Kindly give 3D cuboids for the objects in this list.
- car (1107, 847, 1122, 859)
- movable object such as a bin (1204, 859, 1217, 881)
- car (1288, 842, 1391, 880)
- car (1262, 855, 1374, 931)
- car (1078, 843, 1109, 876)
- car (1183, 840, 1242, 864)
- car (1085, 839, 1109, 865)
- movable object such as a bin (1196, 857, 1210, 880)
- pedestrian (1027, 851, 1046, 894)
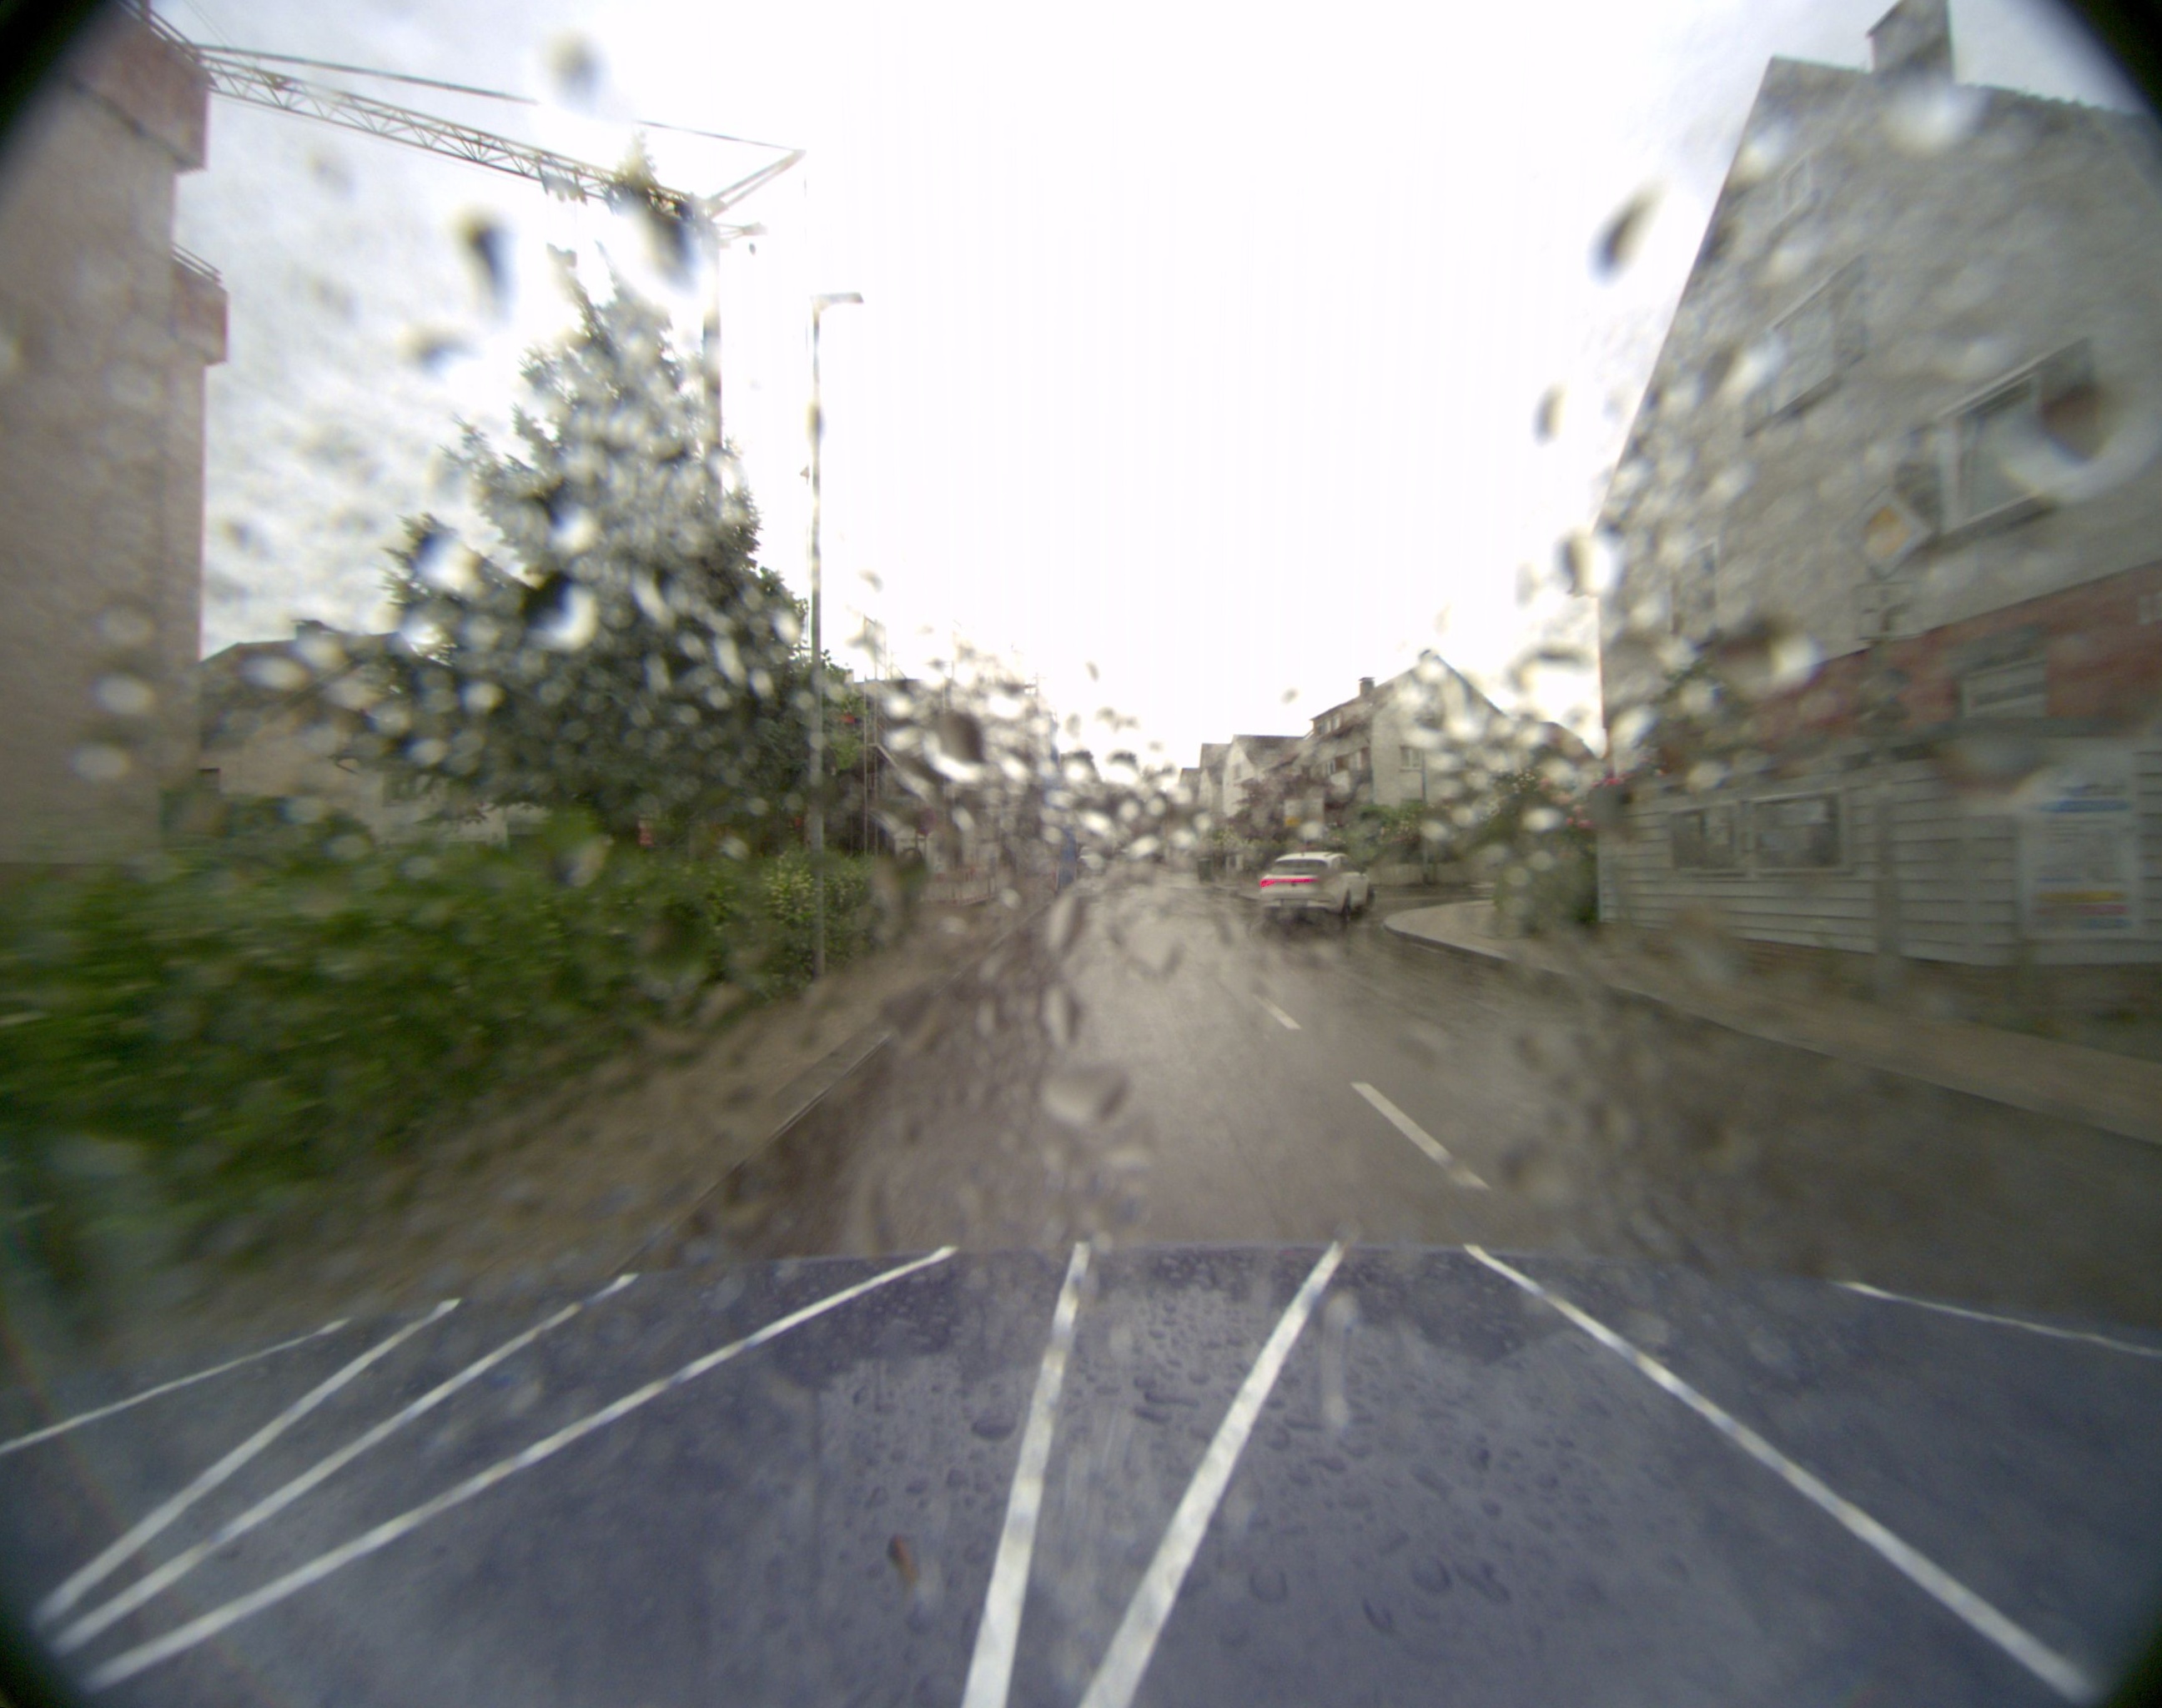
[{"bbox_3d":[4.398,-0.151,98.853,1.708,1.508,3.591,-2,1,-1],"label":"car"},{"bbox_3d":[6.209,0.756,36.461,0.521,1.020,0.414,-2,1,3],"label":"movable object such as a bin"},{"bbox_3d":[11.483,0.288,33.903,3.999,1.590,1.720,0,1,-6],"label":"car"},{"bbox_3d":[5.378,0.749,16.886,1.587,1.401,4.217,1,1,29],"label":"car"},{"bbox_3d":[0.858,0.297,48.255,1.827,1.964,4.517,-1,1,2],"label":"car"},{"bbox_3d":[9.890,-0.132,57.305,4.000,1.696,1.780,-2,1,-10],"label":"car"},{"bbox_3d":[1.342,-0.155,65.564,1.711,2.089,3.939,-2,0,-2],"label":"car"},{"bbox_3d":[5.945,0.707,37.011,0.521,1.043,0.414,-5,1,3],"label":"movable object such as a bin"},{"bbox_3d":[-1.633,0.673,27.831,0.655,1.572,0.436,0,1,2],"label":"pedestrian"}]
